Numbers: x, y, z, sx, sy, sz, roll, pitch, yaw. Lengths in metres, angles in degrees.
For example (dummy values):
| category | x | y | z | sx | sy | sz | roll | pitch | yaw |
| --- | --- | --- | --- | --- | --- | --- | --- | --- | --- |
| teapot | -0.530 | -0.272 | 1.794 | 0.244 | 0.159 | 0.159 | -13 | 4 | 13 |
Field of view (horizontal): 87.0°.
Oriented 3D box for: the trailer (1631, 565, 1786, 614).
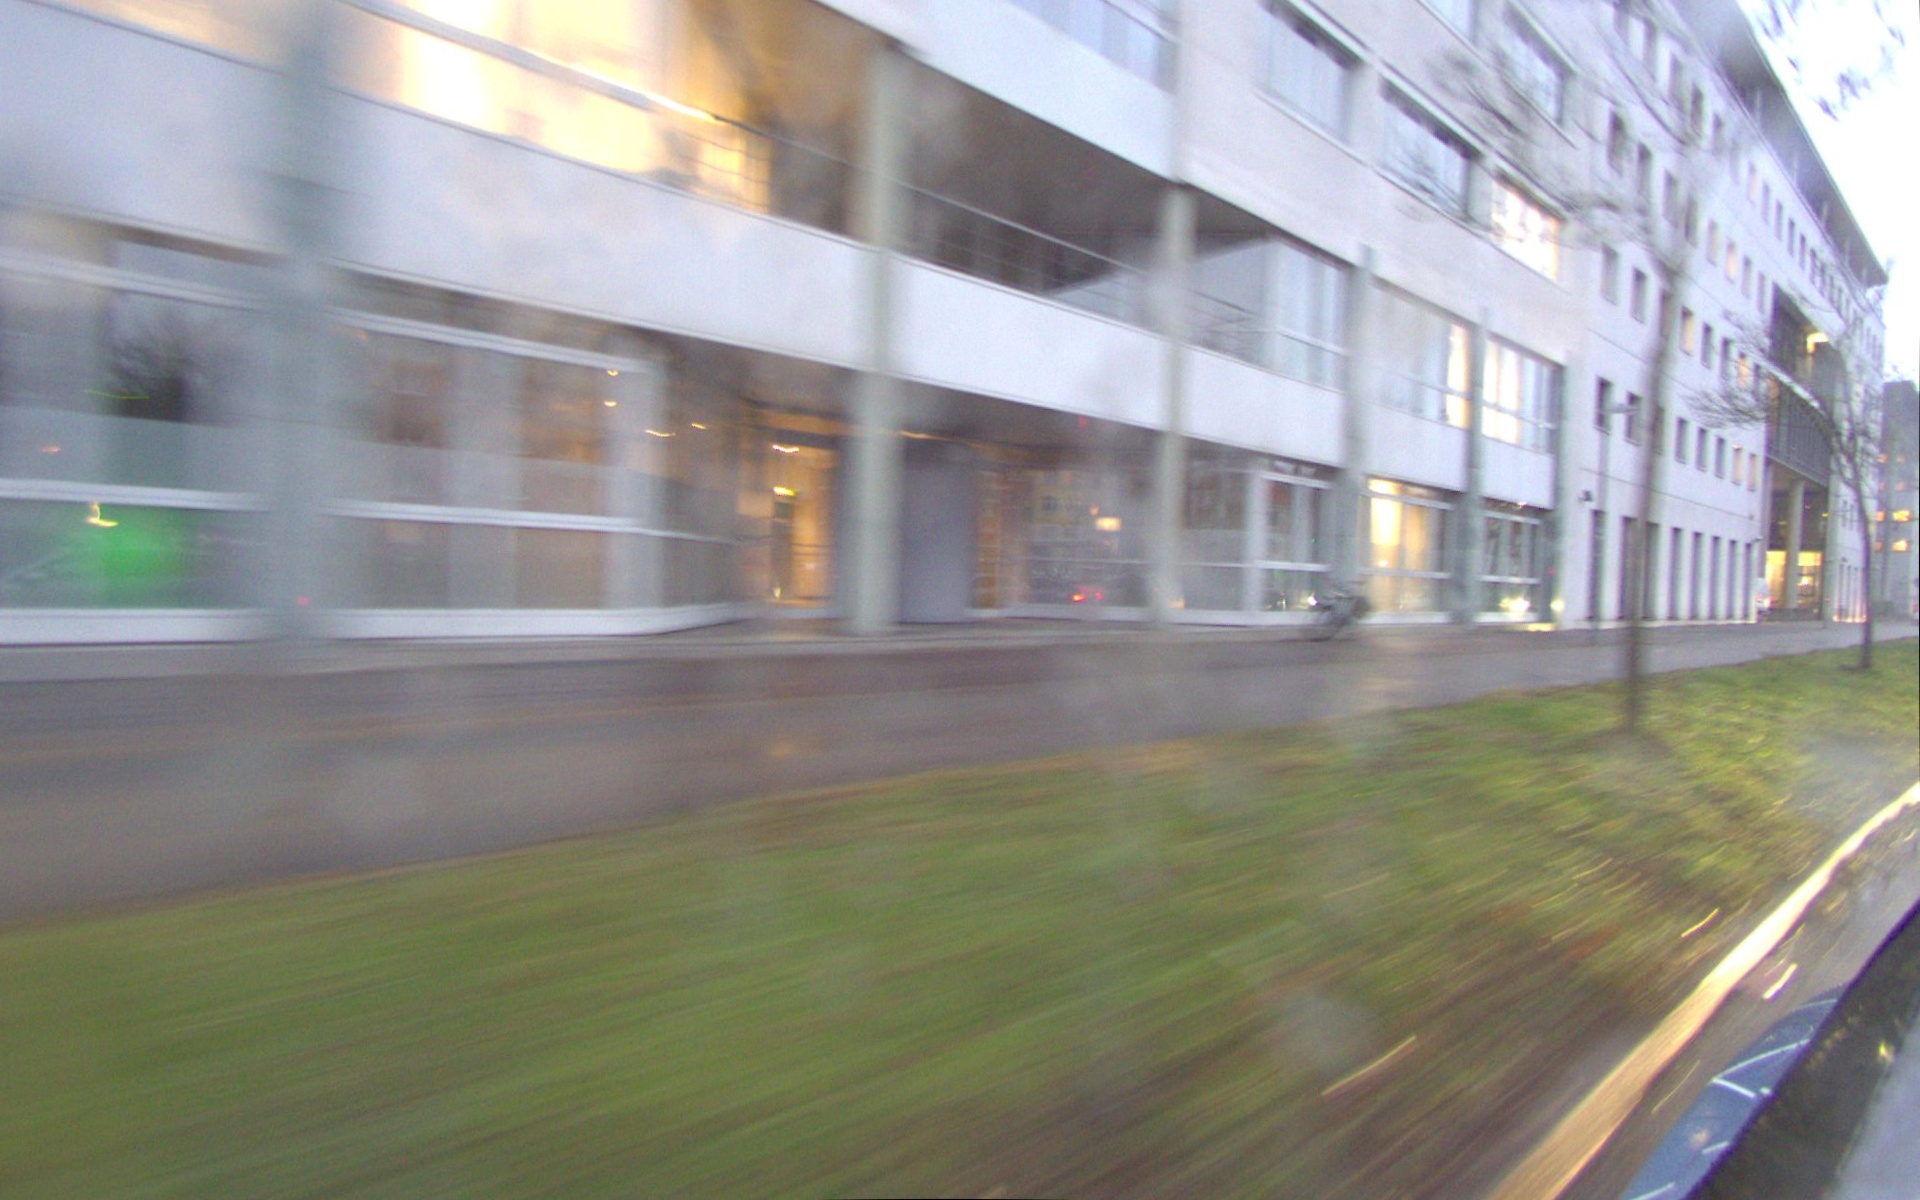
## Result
| category | x | y | z | sx | sy | sz | roll | pitch | yaw |
| --- | --- | --- | --- | --- | --- | --- | --- | --- | --- |
| trailer | 33.069 | -0.491 | 44.870 | 2.089 | 1.935 | 5.085 | 3 | 1 | -36 |

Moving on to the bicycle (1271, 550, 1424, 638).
| category | x | y | z | sx | sy | sz | roll | pitch | yaw |
| --- | --- | --- | --- | --- | --- | --- | --- | --- | --- |
| bicycle | 6.427 | -0.089 | 16.766 | 2.407 | 1.288 | 0.827 | 2 | 5 | -26 |
